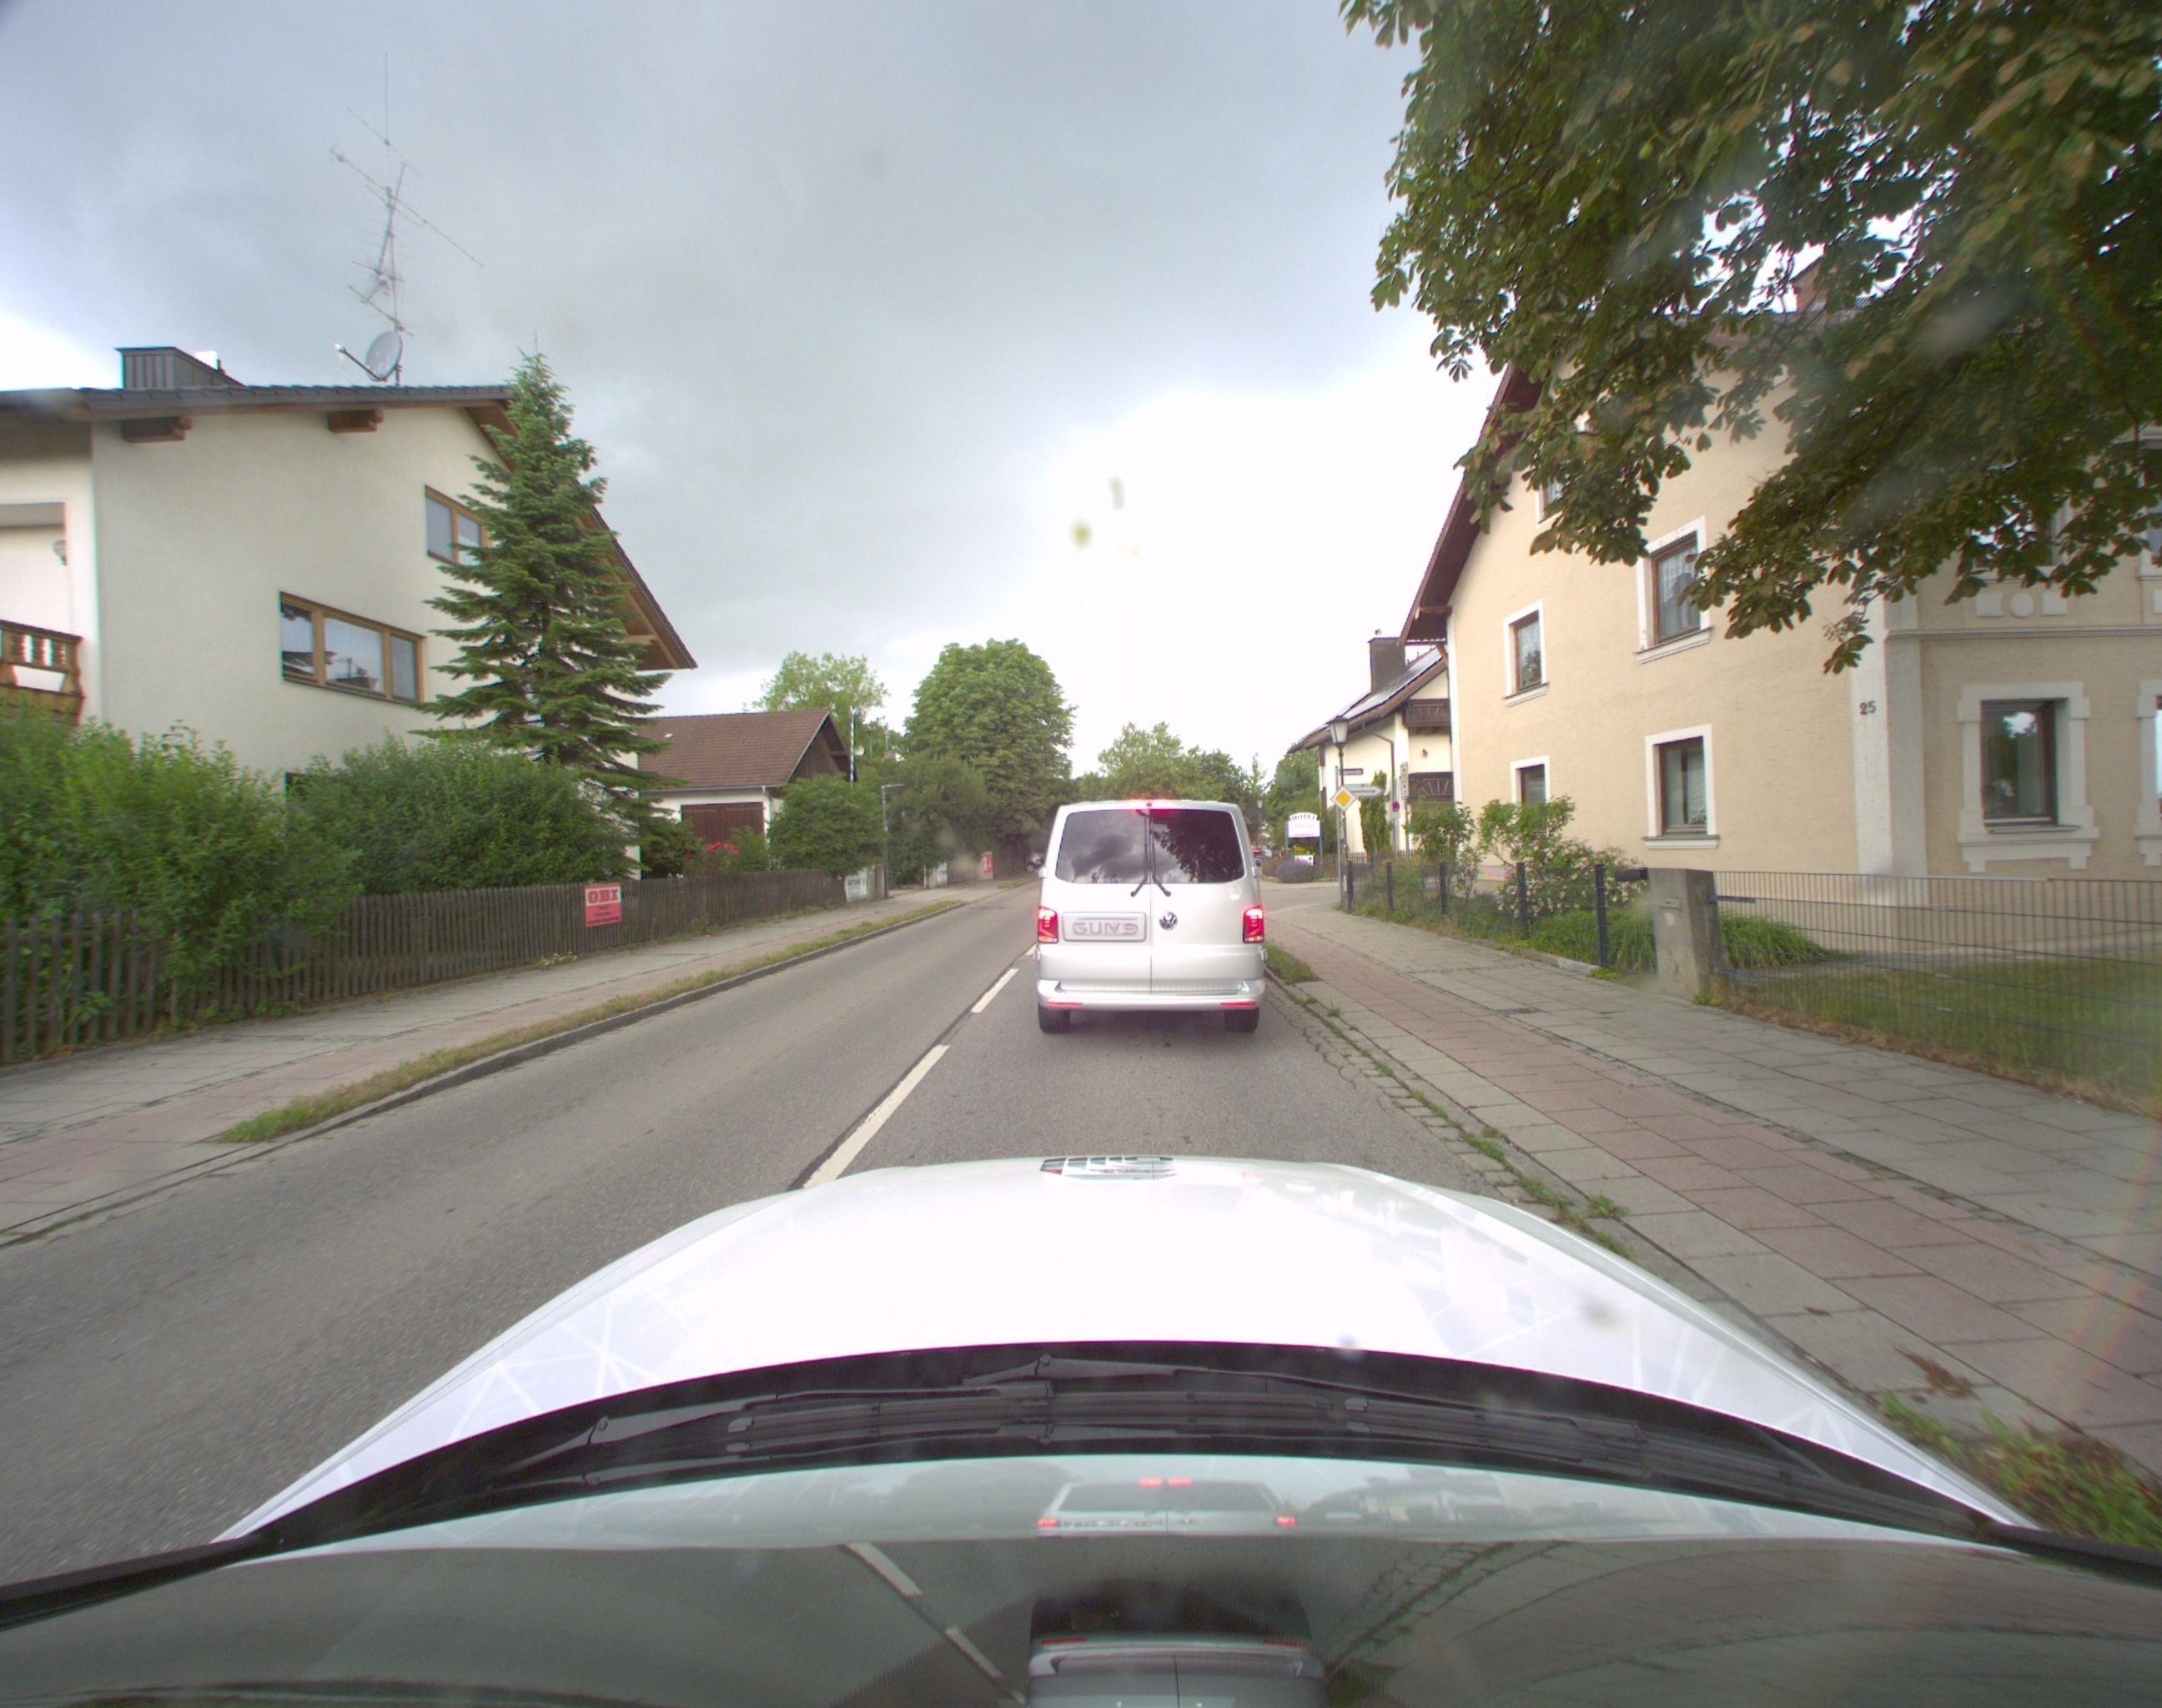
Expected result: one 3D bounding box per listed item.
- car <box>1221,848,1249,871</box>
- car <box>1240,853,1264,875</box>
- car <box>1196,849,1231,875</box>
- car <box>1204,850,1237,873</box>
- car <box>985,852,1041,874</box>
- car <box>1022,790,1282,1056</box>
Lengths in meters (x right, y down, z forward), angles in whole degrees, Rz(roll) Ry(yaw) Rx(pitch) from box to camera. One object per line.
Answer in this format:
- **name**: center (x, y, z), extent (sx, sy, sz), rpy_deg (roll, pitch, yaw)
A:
- **car**: center (12.365, 0.389, 65.251), extent (1.867, 1.748, 4.096), rpy_deg (-2, 0, 14)
- **car**: center (15.394, 0.896, 73.187), extent (1.867, 1.825, 3.937), rpy_deg (-2, 0, 16)
- **car**: center (8.487, 0.508, 51.989), extent (1.868, 1.535, 3.936), rpy_deg (-2, 0, 14)
- **car**: center (9.919, 0.496, 57.664), extent (1.867, 1.535, 3.937), rpy_deg (-2, 0, 16)
- **car**: center (-5.003, 0.650, 60.027), extent (3.982, 1.486, 1.996), rpy_deg (-1, 0, -6)
- **car**: center (0.625, 0.516, 8.034), extent (1.873, 1.940, 3.923), rpy_deg (-2, 0, 3)
